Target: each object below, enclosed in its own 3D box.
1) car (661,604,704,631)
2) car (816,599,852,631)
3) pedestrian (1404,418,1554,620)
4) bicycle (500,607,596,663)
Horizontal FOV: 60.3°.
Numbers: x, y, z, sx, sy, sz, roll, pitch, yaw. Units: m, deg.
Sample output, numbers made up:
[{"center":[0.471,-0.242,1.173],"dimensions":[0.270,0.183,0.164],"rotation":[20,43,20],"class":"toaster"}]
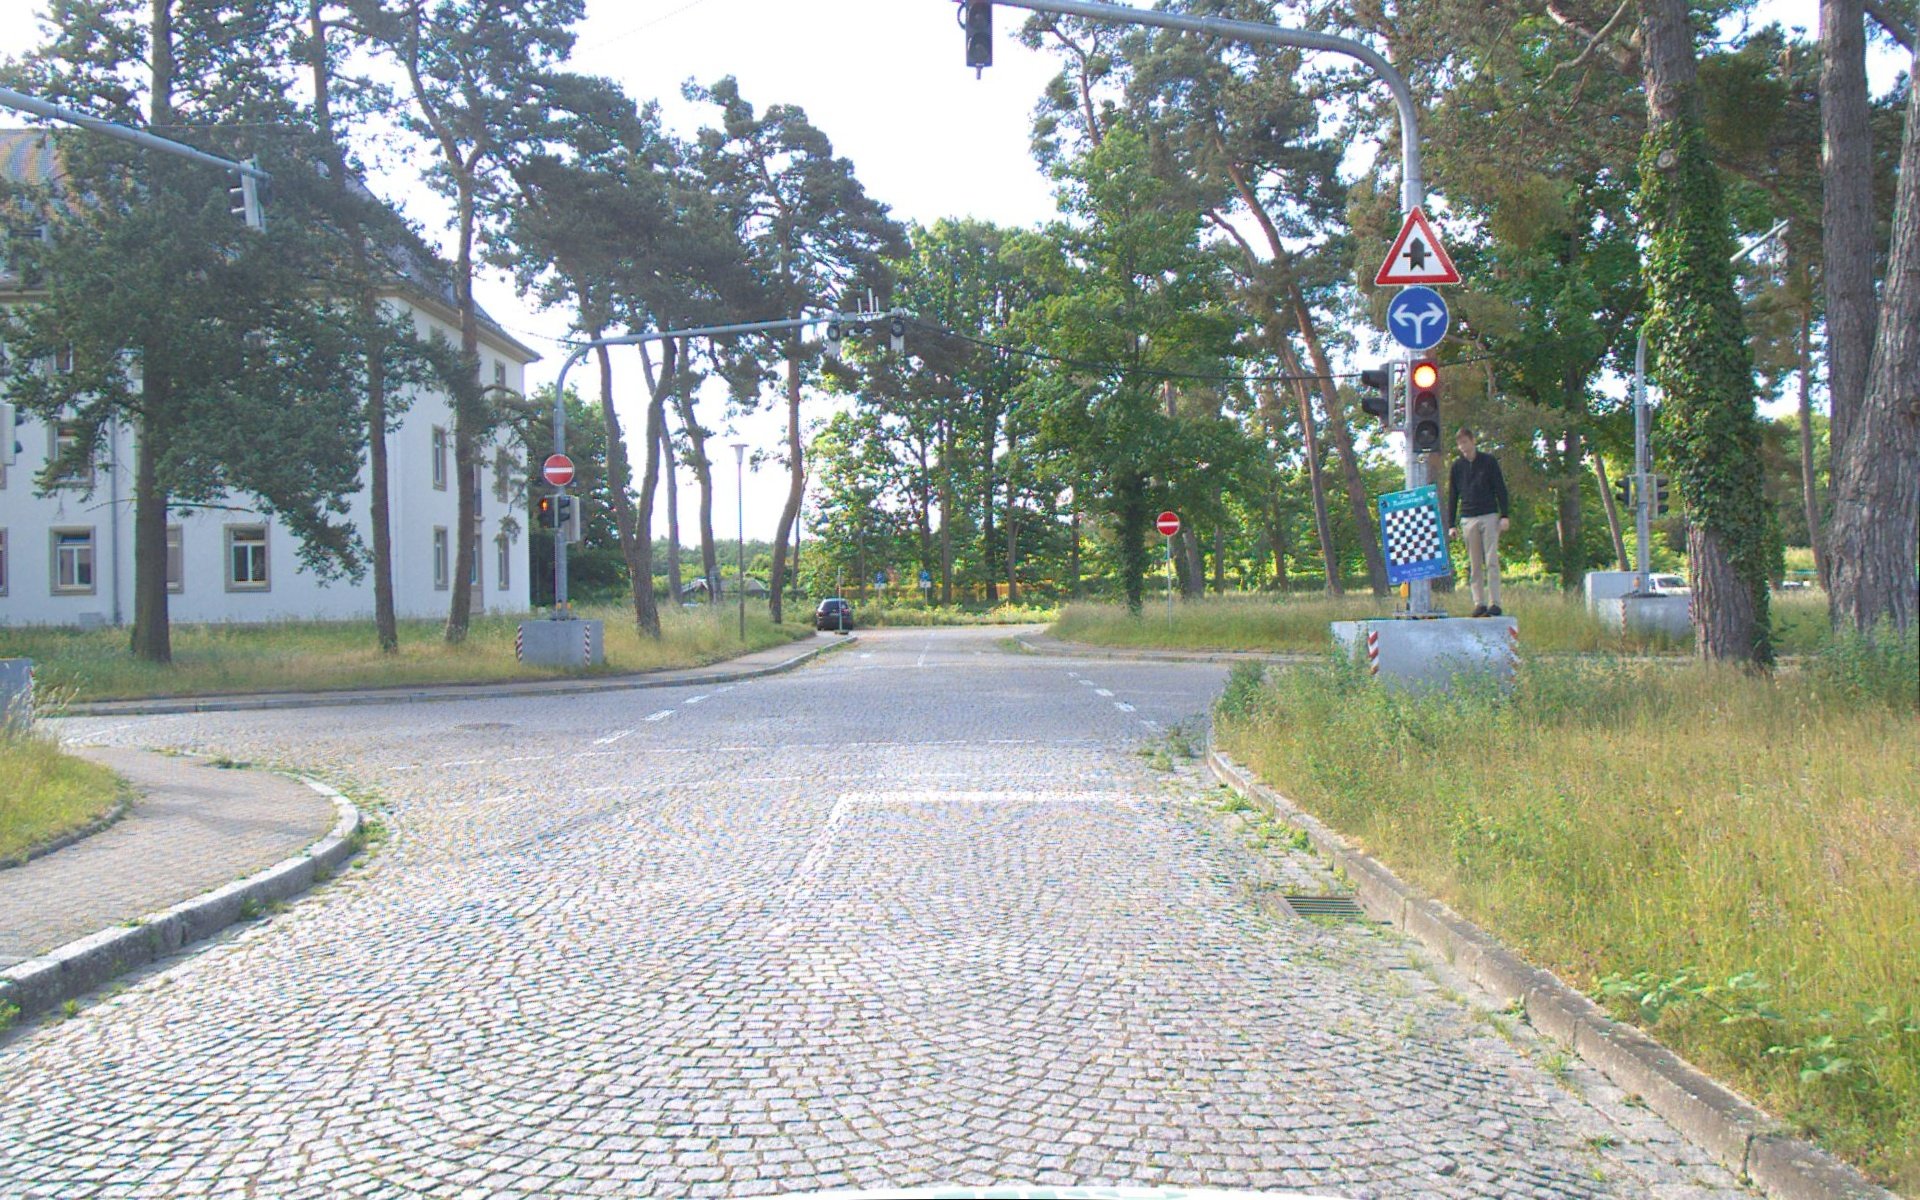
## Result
[{"center":[-14.110,0.876,84.153],"dimensions":[1.675,1.296,3.917],"rotation":[-1,0,-3],"class":"car"},{"center":[-6.329,0.751,83.514],"dimensions":[1.675,1.522,3.917],"rotation":[-1,0,-3],"class":"car"},{"center":[5.018,-0.754,15.970],"dimensions":[1.146,1.827,1.061],"rotation":[-2,0,29],"class":"pedestrian"},{"center":[-8.476,0.711,34.094],"dimensions":[0.623,1.084,1.942],"rotation":[-1,0,38],"class":"bicycle"}]
